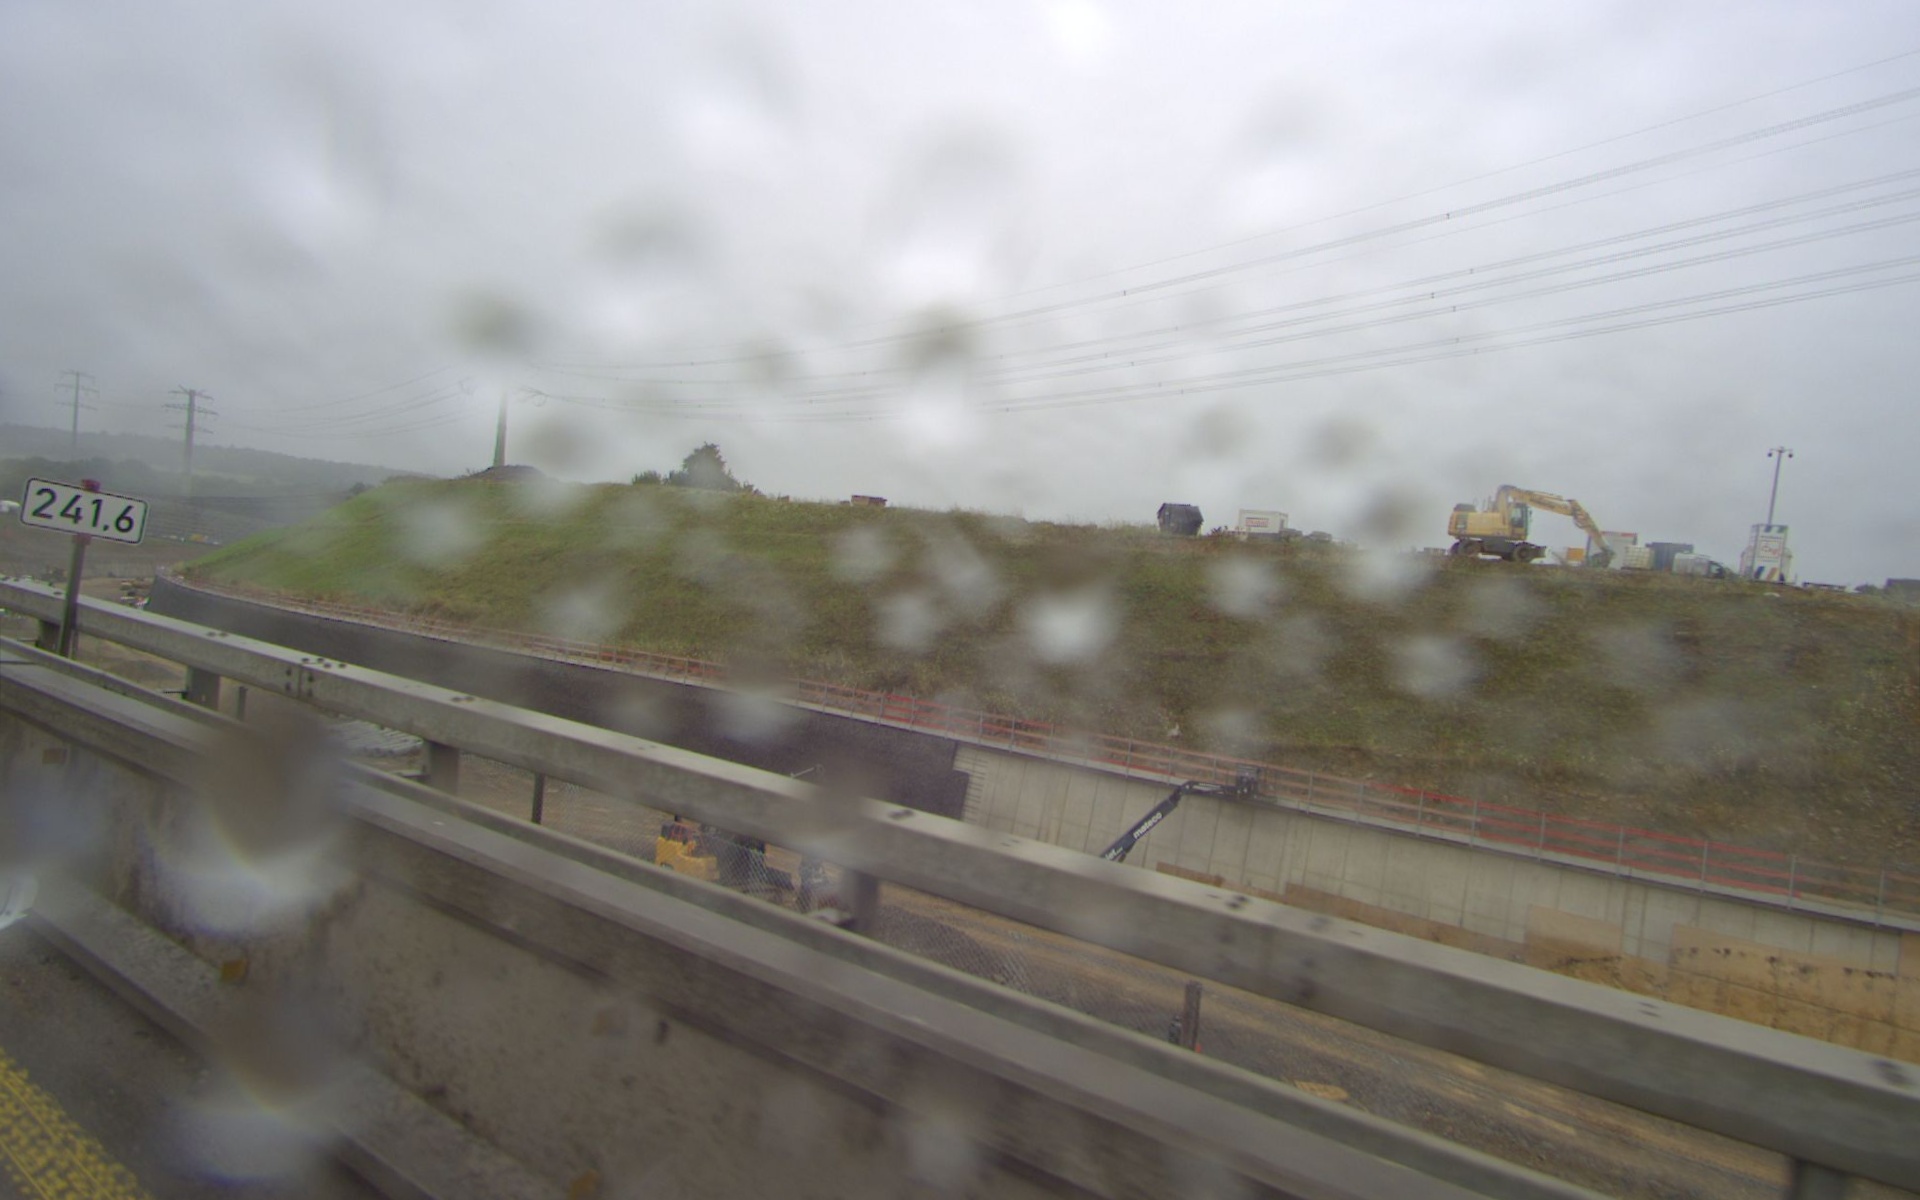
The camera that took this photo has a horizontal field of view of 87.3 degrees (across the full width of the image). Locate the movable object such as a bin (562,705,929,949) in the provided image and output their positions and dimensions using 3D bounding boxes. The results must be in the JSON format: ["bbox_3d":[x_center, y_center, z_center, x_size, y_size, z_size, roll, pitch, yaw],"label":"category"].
[{"bbox_3d":[-7.541,7.168,34.329,11.903,5.731,4.901,3,-4,34],"label":"movable object such as a bin"}]

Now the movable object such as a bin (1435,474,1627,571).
[{"bbox_3d":[29.518,-4.081,52.195,8.050,4.259,3.099,7,1,35],"label":"movable object such as a bin"}]

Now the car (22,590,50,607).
[{"bbox_3d":[-133.892,-0.223,145.719,3.943,2.037,2.364,6,-2,40],"label":"car"}]
